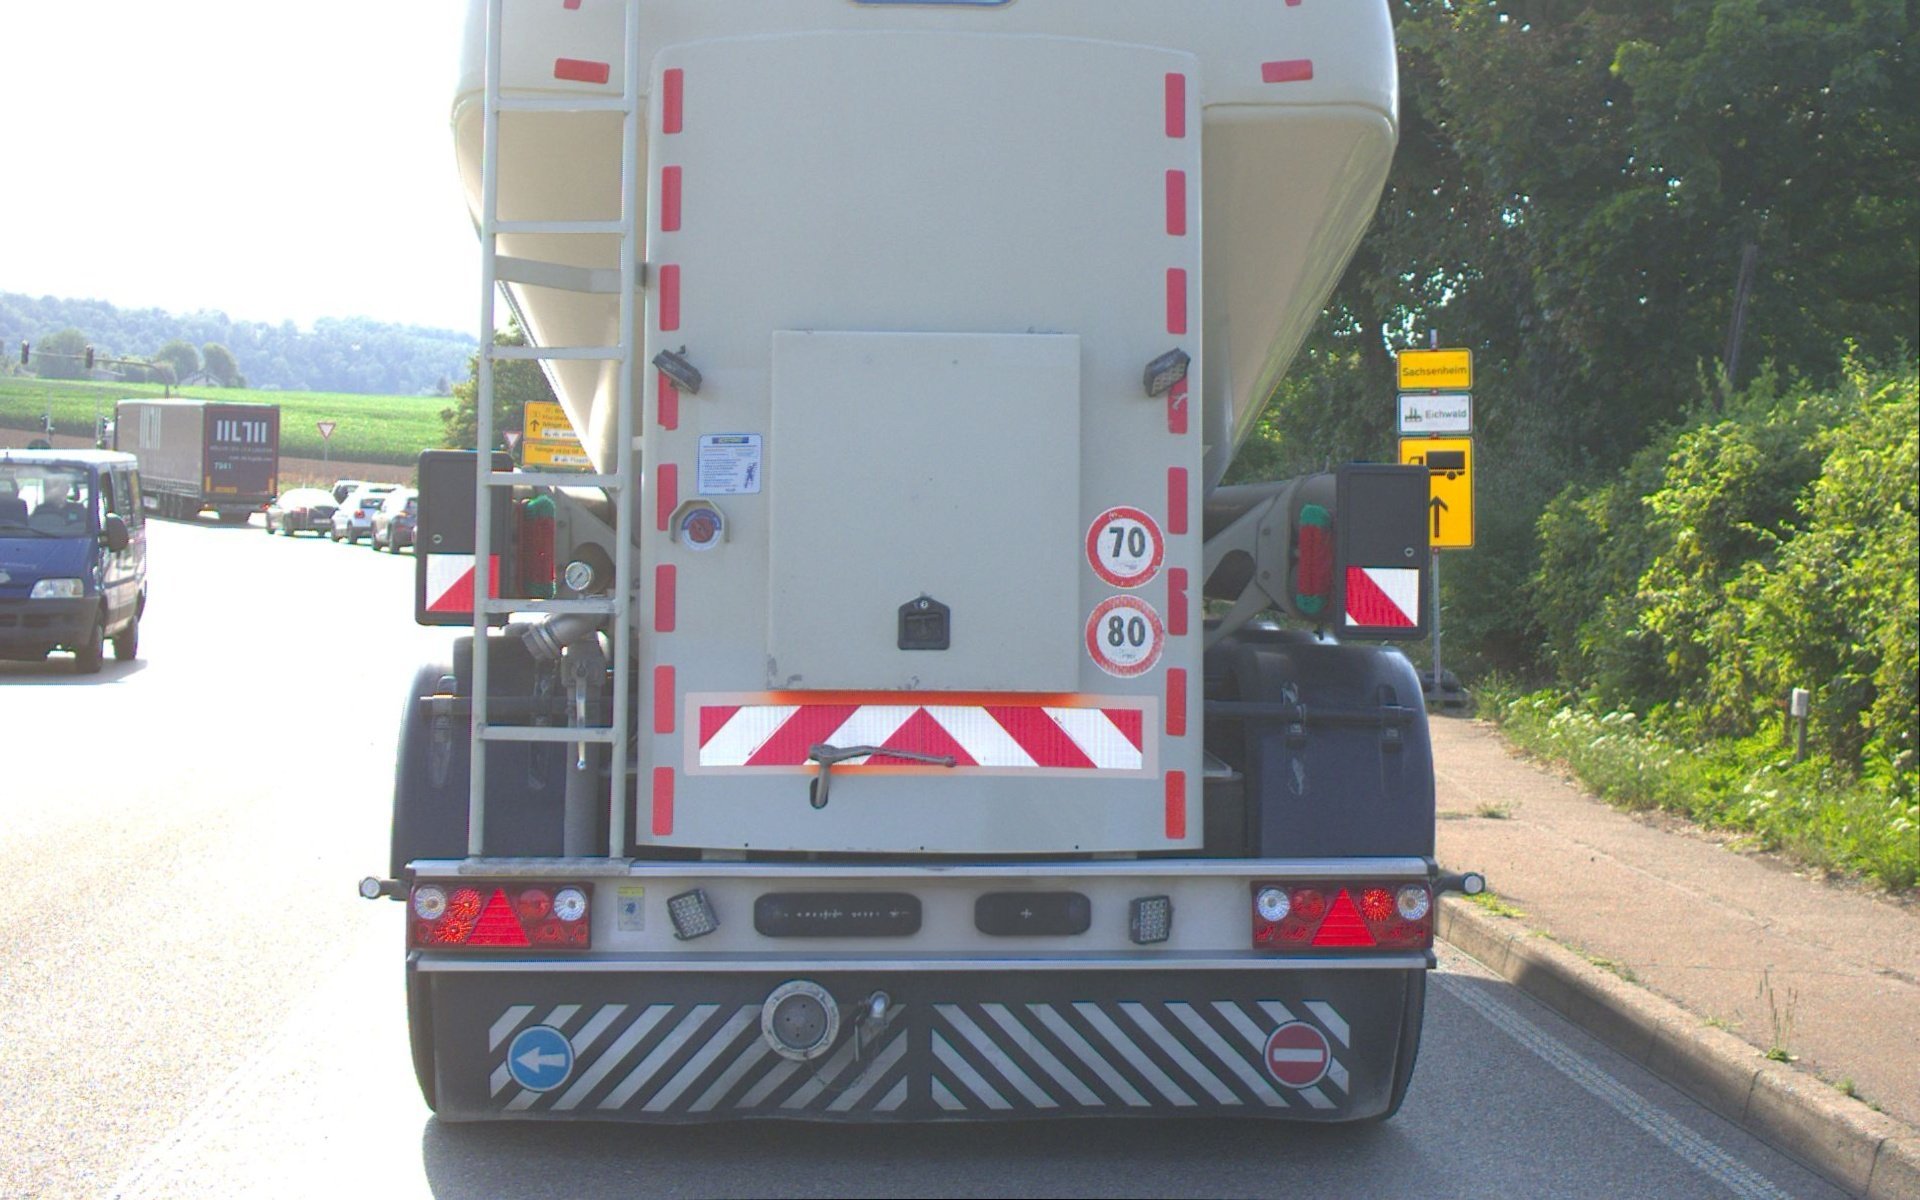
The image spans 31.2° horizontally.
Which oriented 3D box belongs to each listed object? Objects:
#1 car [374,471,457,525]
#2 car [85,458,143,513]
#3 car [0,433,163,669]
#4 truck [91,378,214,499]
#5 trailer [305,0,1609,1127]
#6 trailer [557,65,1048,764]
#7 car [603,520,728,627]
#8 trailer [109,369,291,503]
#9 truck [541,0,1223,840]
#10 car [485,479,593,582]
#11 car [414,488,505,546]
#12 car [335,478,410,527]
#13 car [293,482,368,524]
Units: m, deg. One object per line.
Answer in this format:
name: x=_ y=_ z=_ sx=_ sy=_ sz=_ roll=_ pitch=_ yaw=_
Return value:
car: x=-14.242 y=-2.677 z=89.860 sx=1.580 sy=1.336 sz=3.427 roll=1 pitch=1 yaw=-18
car: x=-27.405 y=-3.717 z=111.295 sx=1.433 sy=1.678 sz=3.507 roll=2 pitch=1 yaw=-19
car: x=-9.139 y=-0.505 z=33.476 sx=1.998 sy=2.129 sz=4.780 roll=1 pitch=1 yaw=-5
truck: x=-30.303 y=-6.015 z=128.872 sx=3.375 sy=4.335 sz=5.707 roll=1 pitch=1 yaw=-24
trailer: x=-0.237 y=-0.922 z=12.672 sx=2.909 sy=3.992 sz=9.931 roll=0 pitch=1 yaw=-3
trailer: x=-1.096 y=-1.337 z=28.715 sx=2.955 sy=4.300 sz=14.176 roll=2 pitch=1 yaw=-1
car: x=-3.980 y=-0.391 z=46.661 sx=1.580 sy=1.336 sz=3.426 roll=2 pitch=1 yaw=-4
trailer: x=-26.982 y=-5.712 z=121.381 sx=3.375 sy=4.335 sz=14.298 roll=1 pitch=2 yaw=-24
truck: x=-0.437 y=-1.009 z=16.858 sx=2.909 sy=3.992 sz=4.060 roll=0 pitch=1 yaw=-3
car: x=-8.539 y=-1.414 z=69.473 sx=1.861 sy=2.007 sz=3.720 roll=0 pitch=2 yaw=-12
car: x=-12.193 y=-2.038 z=83.675 sx=1.580 sy=1.336 sz=3.427 roll=1 pitch=1 yaw=-18
car: x=-16.732 y=-2.778 z=97.816 sx=1.580 sy=1.336 sz=3.427 roll=1 pitch=1 yaw=-18
car: x=-19.123 y=-2.947 z=104.334 sx=1.769 sy=1.201 sz=3.427 roll=1 pitch=1 yaw=-18
